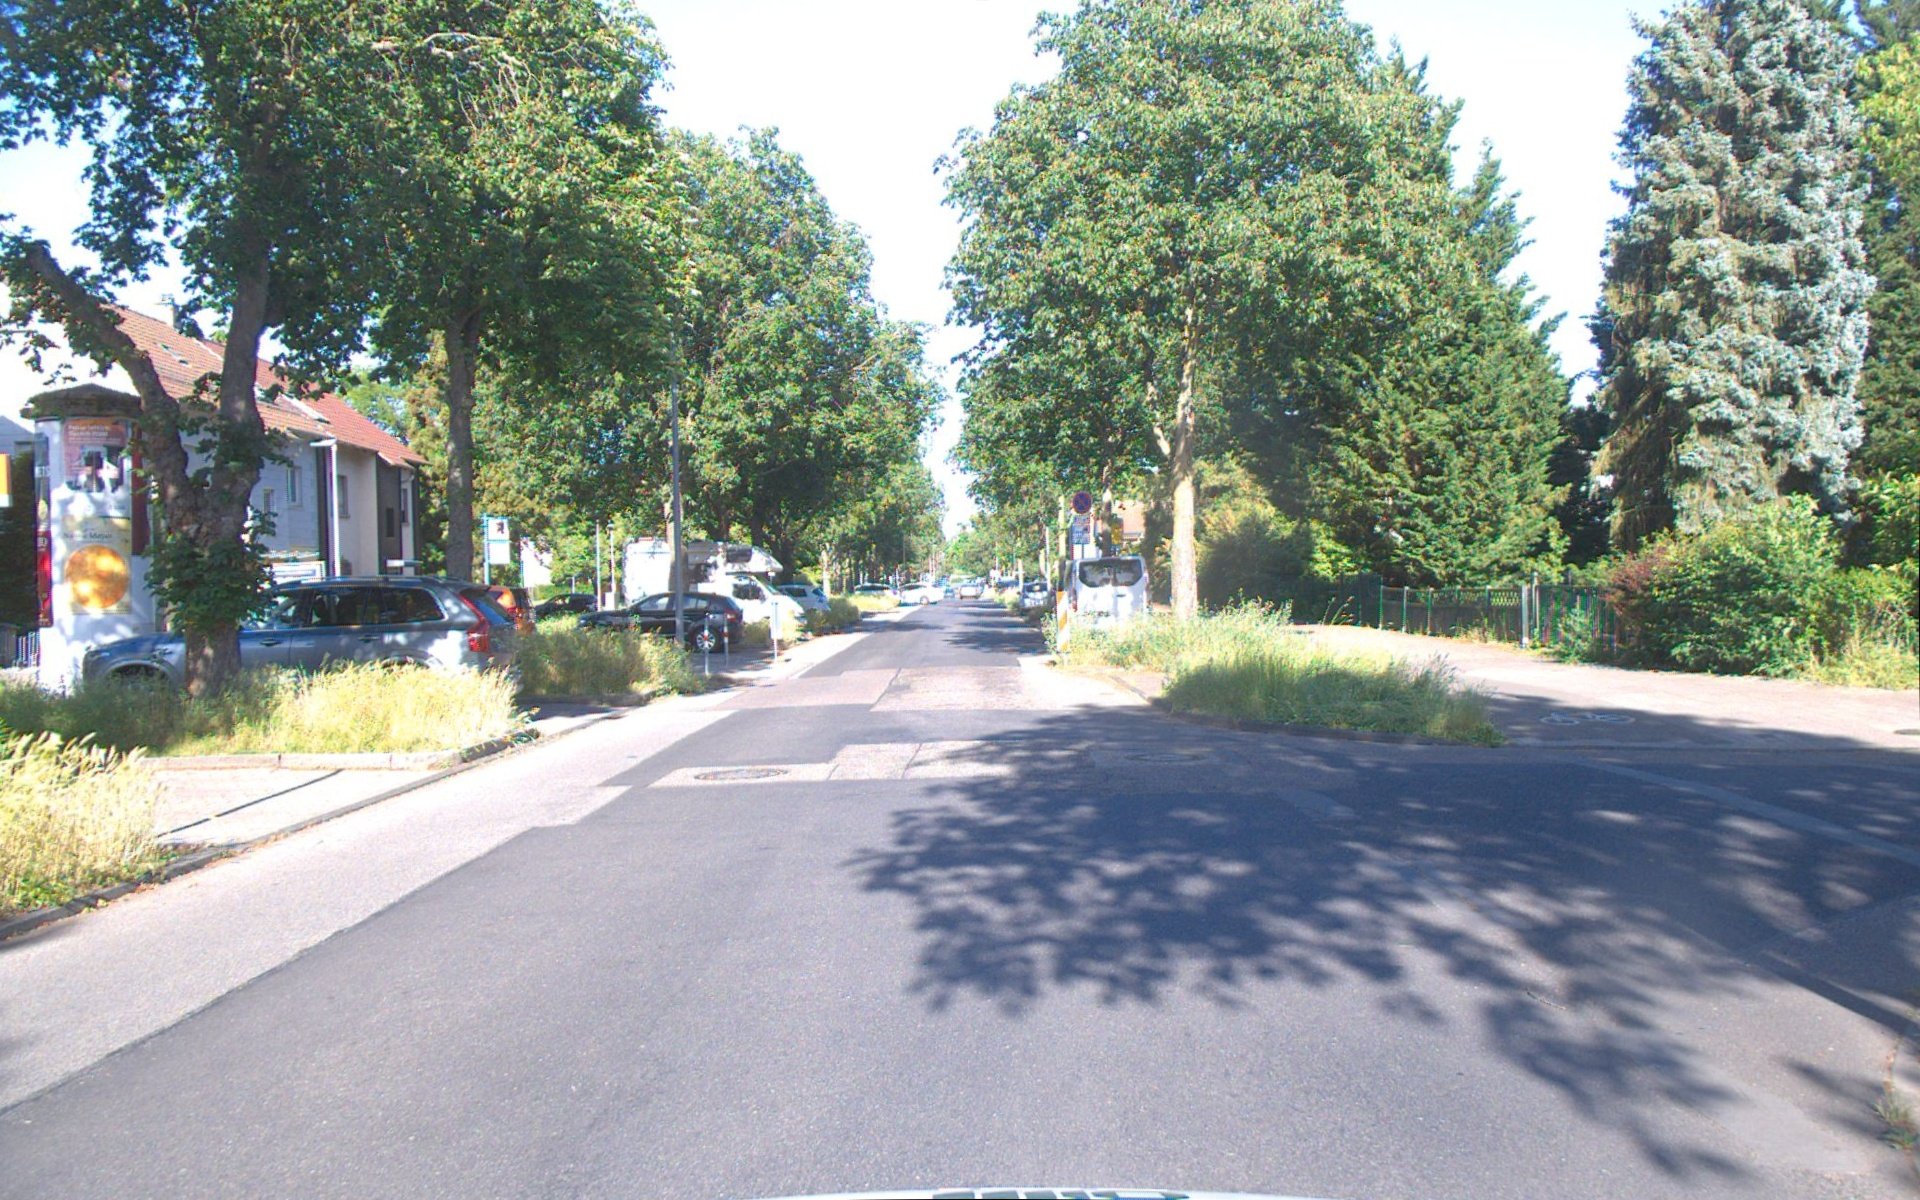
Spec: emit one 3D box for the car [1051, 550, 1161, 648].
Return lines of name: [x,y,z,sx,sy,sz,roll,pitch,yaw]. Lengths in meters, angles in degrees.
car: [3.321,-0.021,38.479,1.953,2.049,5.195,2,0,-1]

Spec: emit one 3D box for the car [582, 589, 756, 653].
car: [-7.070,0.508,40.394,3.903,1.475,1.640,1,0,3]

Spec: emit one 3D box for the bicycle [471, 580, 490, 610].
bicycle: [-19.945,-0.221,68.819,0.692,1.197,4.039,-2,1,-16]

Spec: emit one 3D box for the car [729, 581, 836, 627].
car: [-6.844,0.152,63.947,3.906,1.690,1.966,-1,1,-1]

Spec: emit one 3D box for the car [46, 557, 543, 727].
car: [-7.619,0.472,19.385,4.961,1.758,1.998,2,0,-4]

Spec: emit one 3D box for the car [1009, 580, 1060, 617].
car: [3.453,-0.056,76.031,1.951,1.536,4.003,-2,-1,7]

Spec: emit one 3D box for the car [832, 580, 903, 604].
car: [-6.155,-0.528,110.218,4.574,1.529,2.000,-1,0,1]

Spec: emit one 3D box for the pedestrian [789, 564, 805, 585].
pedestrian: [-15.211,-2.388,154.137,1.205,1.859,1.544,0,-1,-16]

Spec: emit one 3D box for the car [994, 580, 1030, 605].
car: [3.646,-0.519,116.055,1.955,1.650,4.376,2,0,-6]

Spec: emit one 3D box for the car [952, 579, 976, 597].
car: [0.358,-1.082,152.898,1.954,1.534,3.655,2,0,-5]

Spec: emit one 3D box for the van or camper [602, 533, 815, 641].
van or camper: [-7.117,-0.354,47.213,5.656,2.854,2.000,2,0,2]

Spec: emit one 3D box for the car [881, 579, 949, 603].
car: [-3.030,-0.617,112.033,4.122,1.480,2.001,-1,0,18]

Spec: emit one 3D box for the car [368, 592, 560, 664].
car: [-11.301,0.618,37.914,3.909,1.569,1.868,0,0,-5]
